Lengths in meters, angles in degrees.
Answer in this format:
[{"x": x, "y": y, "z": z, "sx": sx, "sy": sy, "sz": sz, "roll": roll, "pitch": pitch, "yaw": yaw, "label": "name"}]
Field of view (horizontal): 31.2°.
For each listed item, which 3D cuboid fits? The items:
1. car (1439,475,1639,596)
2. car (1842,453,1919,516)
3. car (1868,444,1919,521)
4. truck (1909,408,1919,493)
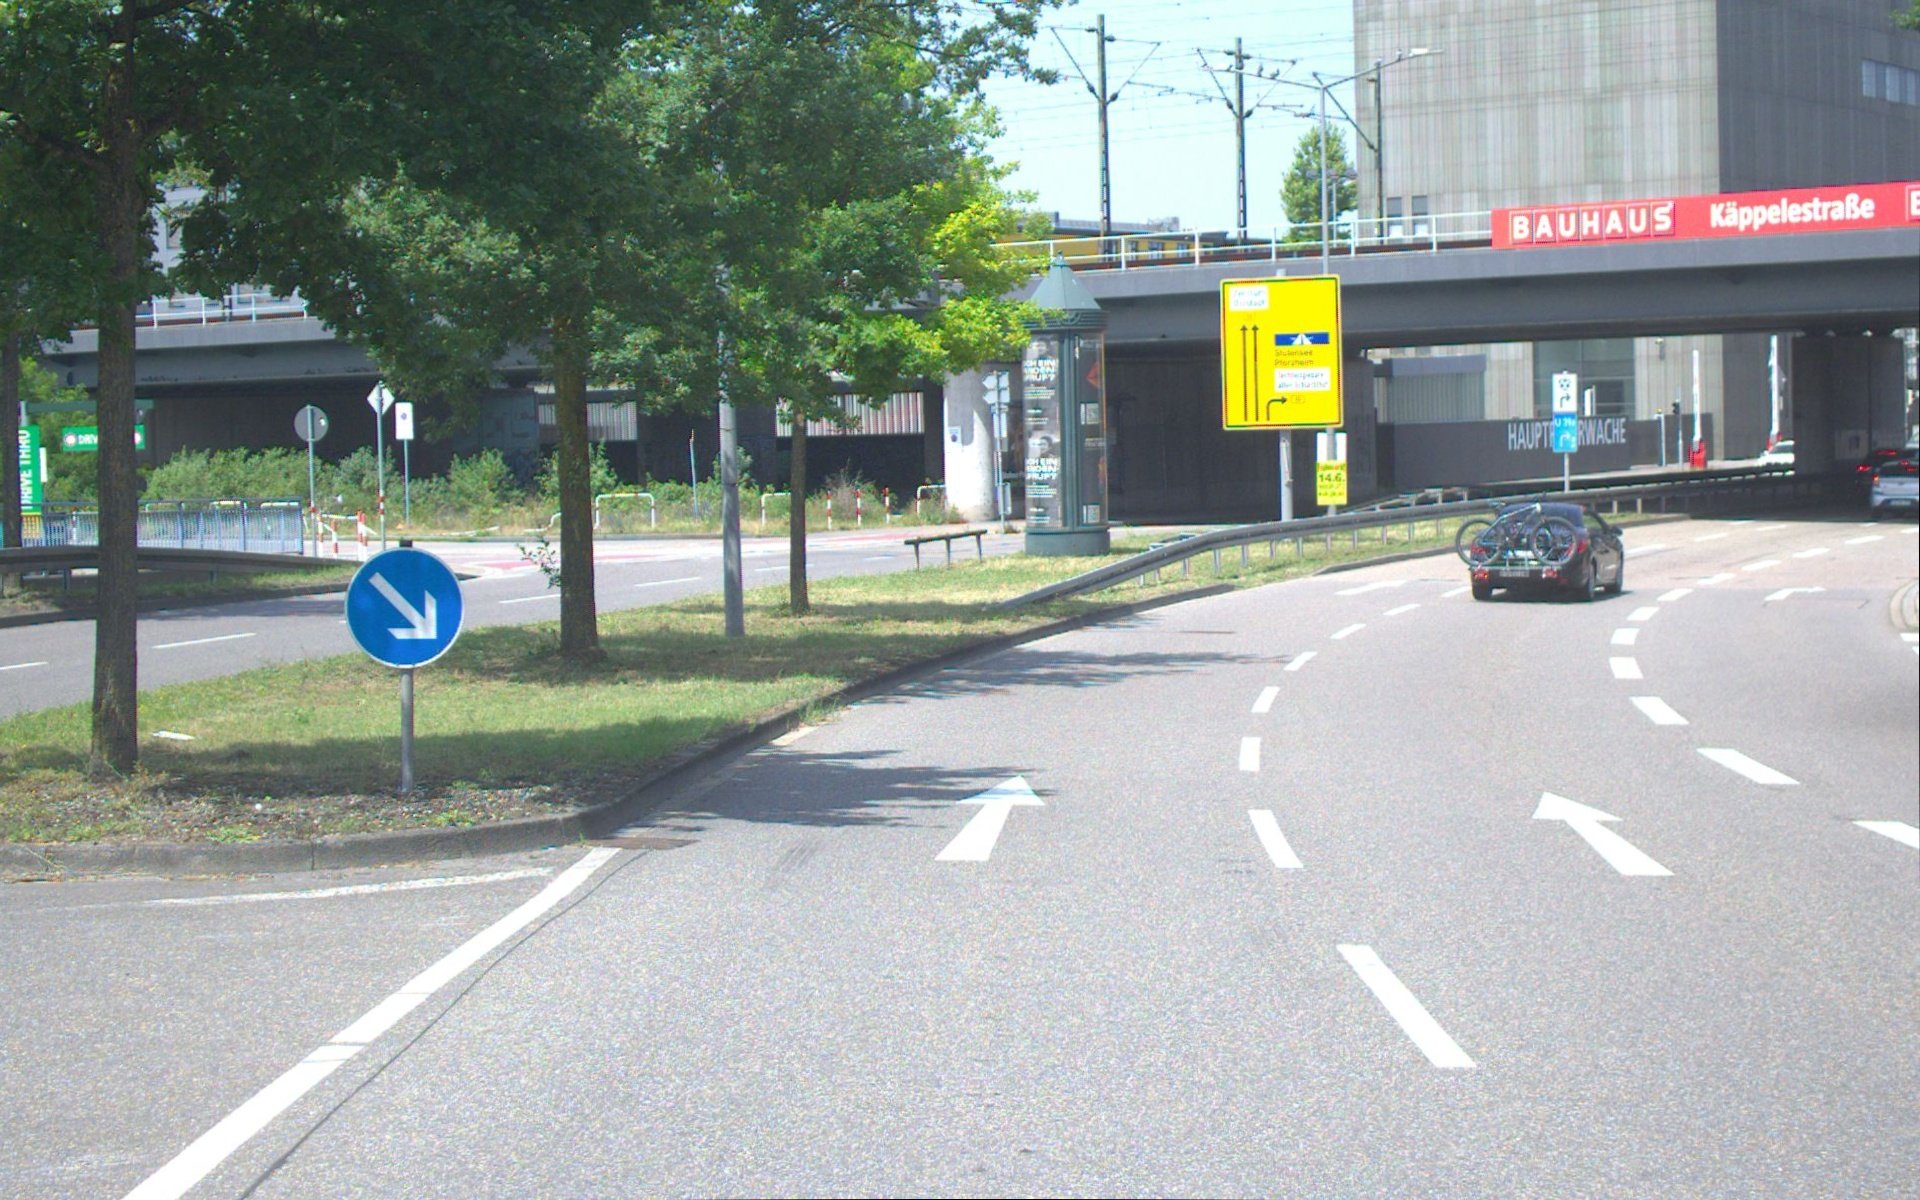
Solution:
[{"x": 8.599, "y": -0.990, "z": 50.757, "sx": 1.959, "sy": 1.628, "sz": 4.275, "roll": 1, "pitch": 3, "yaw": 23, "label": "car"}, {"x": 26.476, "y": -3.284, "z": 97.395, "sx": 1.943, "sy": 1.715, "sz": 3.994, "roll": 1, "pitch": 3, "yaw": 29, "label": "car"}, {"x": 24.319, "y": -2.983, "z": 86.646, "sx": 1.843, "sy": 1.883, "sz": 3.994, "roll": 1, "pitch": 3, "yaw": 29, "label": "car"}, {"x": 30.274, "y": -4.551, "z": 103.619, "sx": 2.071, "sy": 2.529, "sz": 3.993, "roll": -1, "pitch": 2, "yaw": 33, "label": "truck"}]
